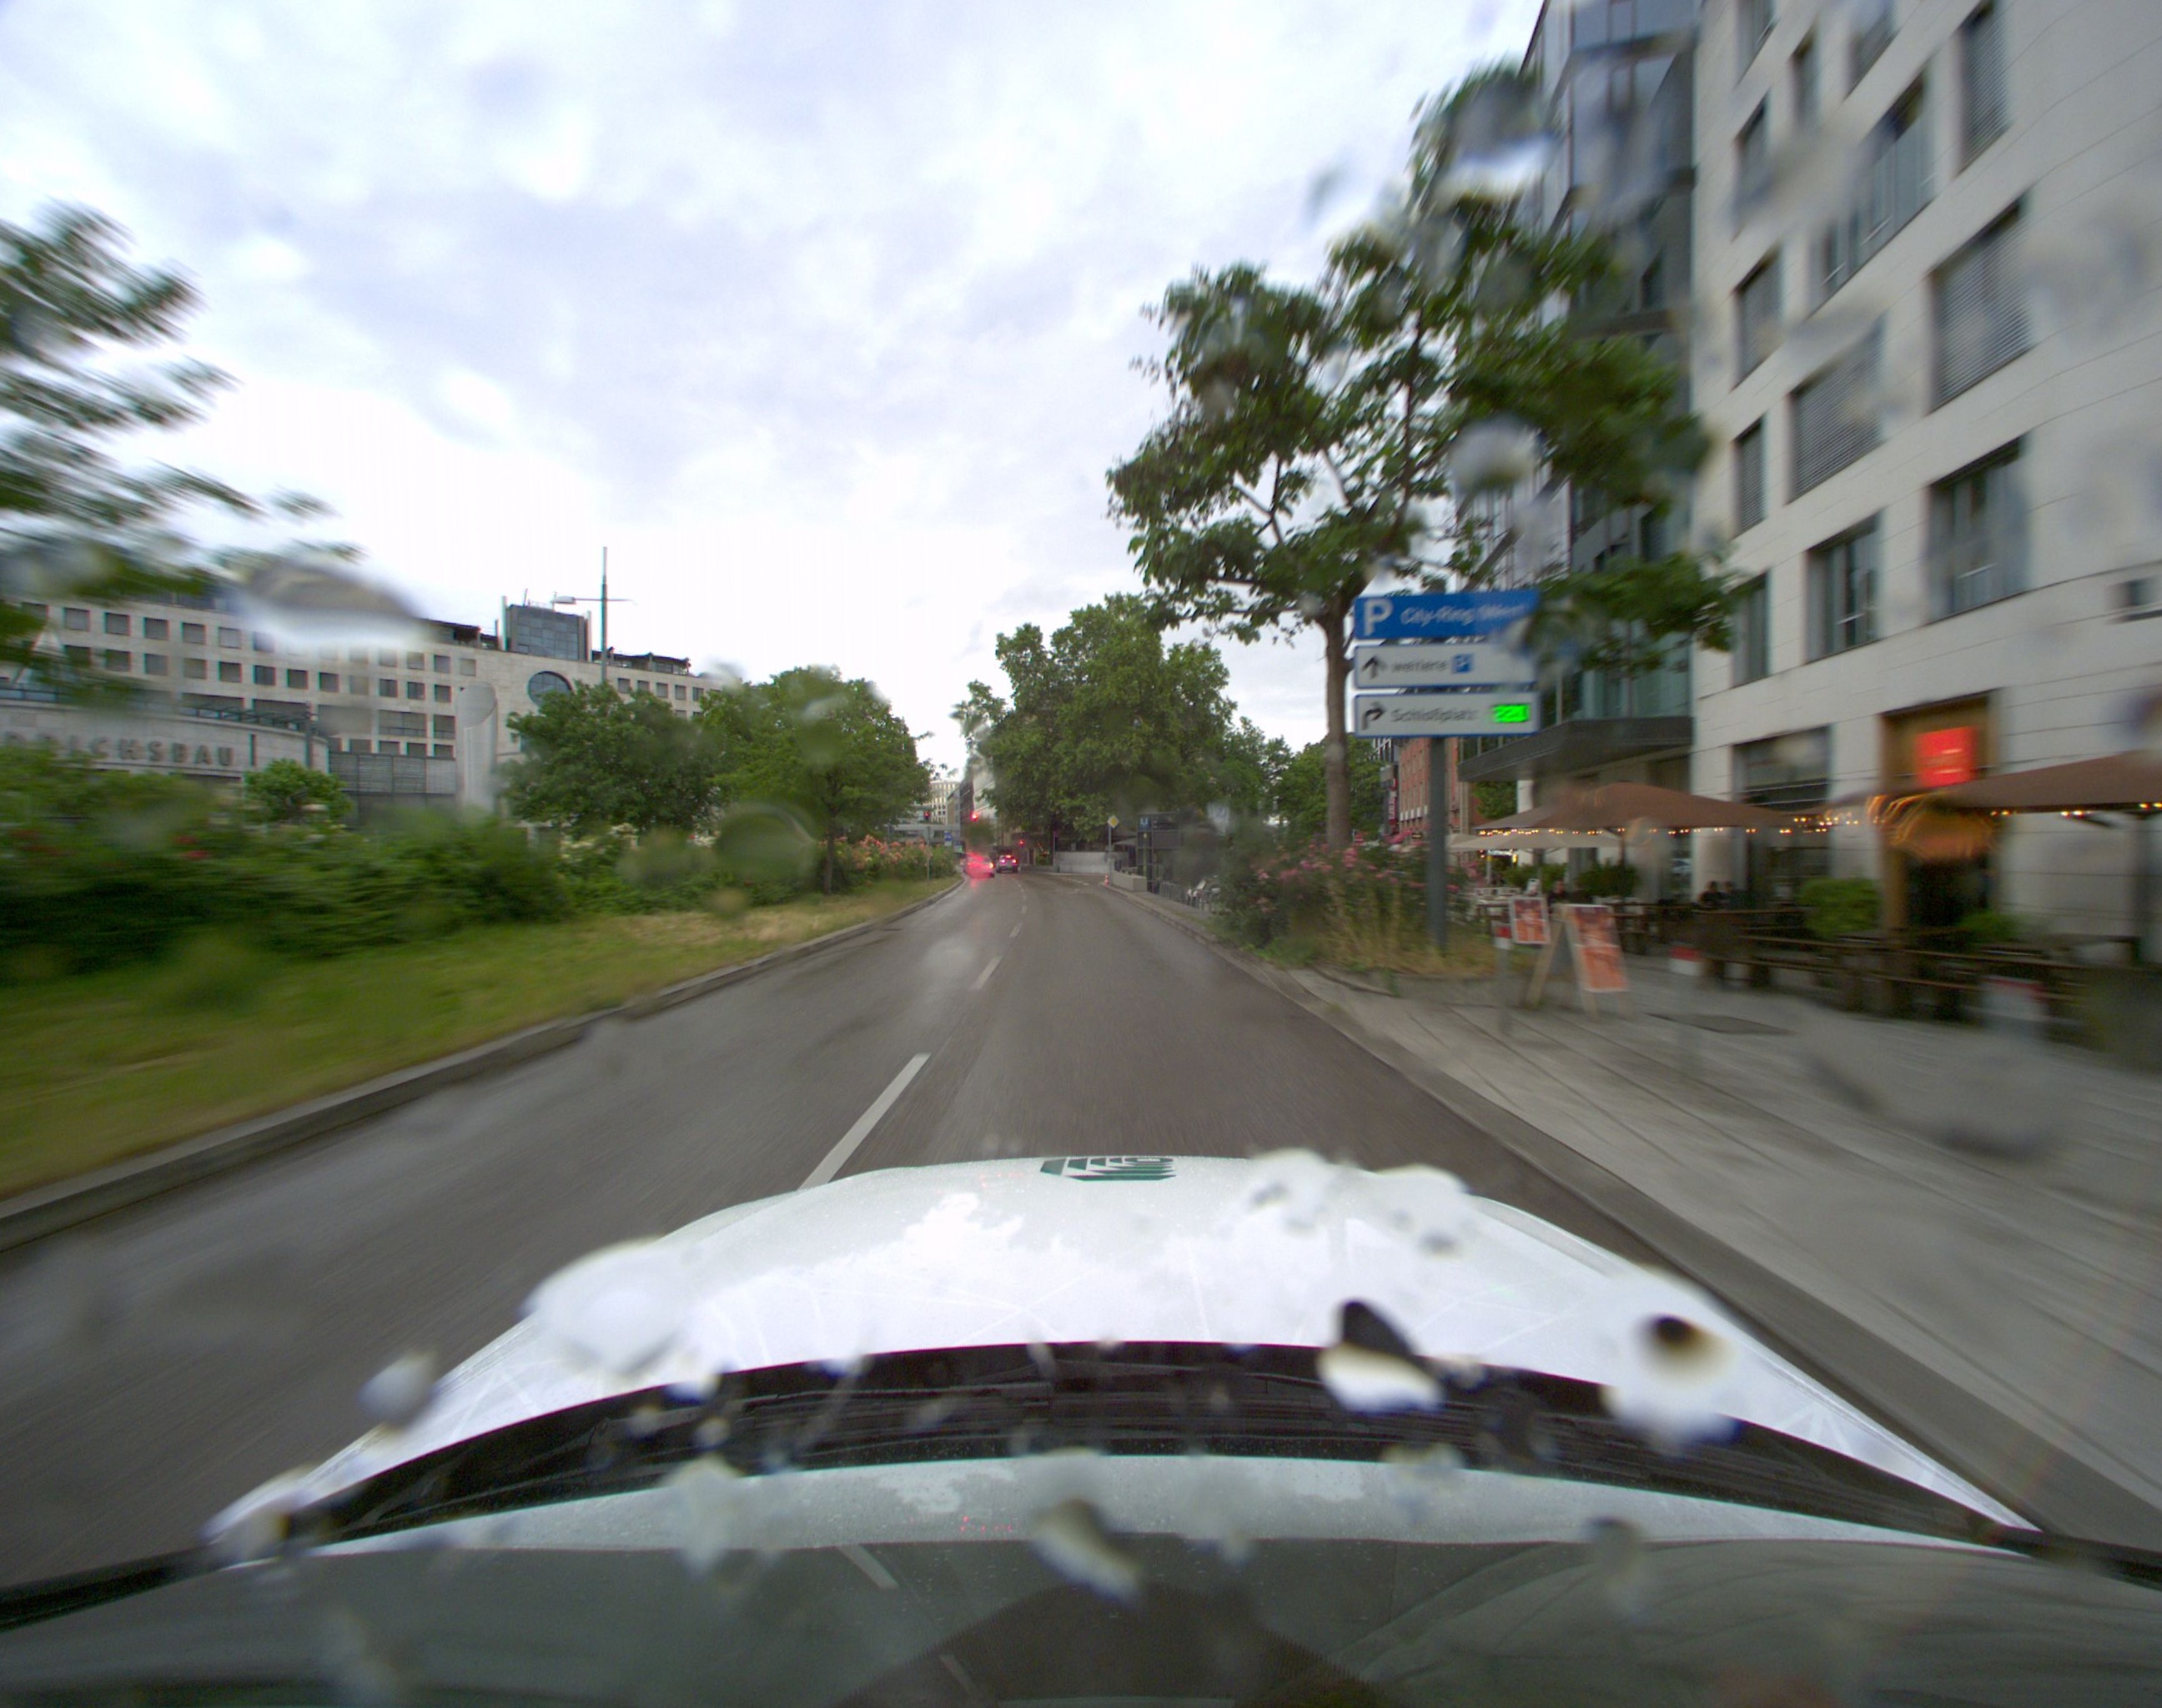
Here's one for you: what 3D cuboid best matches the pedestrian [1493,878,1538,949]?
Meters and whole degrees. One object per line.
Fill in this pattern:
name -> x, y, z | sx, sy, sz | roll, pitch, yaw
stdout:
pedestrian -> 8.488, 1.147, 15.936 | 0.602, 1.326, 0.569 | 2, -1, 9

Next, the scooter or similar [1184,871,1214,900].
scooter or similar -> 4.727, 1.253, 32.739 | 1.111, 1.158, 0.531 | 0, 0, -5

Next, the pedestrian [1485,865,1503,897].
pedestrian -> 23.683, 1.558, 46.704 | 0.606, 1.809, 0.807 | 1, -1, -2

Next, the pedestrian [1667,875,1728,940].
pedestrian -> 13.197, 1.131, 17.458 | 0.812, 1.326, 0.637 | 2, -1, 9

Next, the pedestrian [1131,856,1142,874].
pedestrian -> 4.230, 0.839, 62.445 | 0.683, 1.410, 0.903 | 2, -1, -5

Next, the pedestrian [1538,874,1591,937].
pedestrian -> 10.705, 1.118, 18.041 | 0.812, 1.326, 0.637 | 2, -1, 9

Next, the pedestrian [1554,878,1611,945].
pedestrian -> 10.519, 1.194, 17.112 | 0.812, 1.326, 0.637 | 2, -1, 9

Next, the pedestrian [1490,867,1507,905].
pedestrian -> 15.605, 1.205, 30.440 | 0.432, 1.403, 0.480 | -1, -1, 12

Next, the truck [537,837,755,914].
truck -> -15.993, 0.721, 30.971 | 3.353, 2.510, 8.482 | -1, 0, 3

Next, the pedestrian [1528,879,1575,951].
pedestrian -> 9.131, 1.176, 15.831 | 0.602, 1.326, 0.569 | 2, -1, 9

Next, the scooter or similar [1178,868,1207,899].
scooter or similar -> 4.614, 1.224, 33.711 | 1.111, 1.237, 0.364 | 0, 0, -5

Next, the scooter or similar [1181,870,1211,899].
scooter or similar -> 4.691, 1.251, 33.253 | 1.111, 1.158, 0.443 | 0, 0, -5

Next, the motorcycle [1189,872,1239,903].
motorcycle -> 5.043, 1.273, 30.834 | 1.774, 1.158, 0.606 | 0, 0, -5

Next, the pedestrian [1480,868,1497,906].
pedestrian -> 15.079, 1.209, 30.150 | 0.432, 1.403, 0.480 | -1, -1, 12

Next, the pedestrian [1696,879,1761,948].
pedestrian -> 13.190, 1.198, 16.608 | 0.812, 1.326, 0.637 | 2, -1, 9

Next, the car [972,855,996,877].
car -> -7.120, 0.859, 59.563 | 1.590, 1.491, 3.493 | -2, 0, -10

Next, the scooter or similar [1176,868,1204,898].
scooter or similar -> 4.578, 1.218, 34.123 | 1.111, 1.216, 0.364 | 0, 0, -5

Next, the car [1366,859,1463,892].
car -> 18.447, 1.147, 45.277 | 4.702, 1.691, 2.012 | 1, 0, 13

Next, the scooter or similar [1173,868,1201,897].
scooter or similar -> 4.493, 1.211, 34.546 | 1.111, 1.234, 0.364 | 0, 0, -5

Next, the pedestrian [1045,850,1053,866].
pedestrian -> -3.621, 0.430, 91.138 | 0.858, 1.780, 0.716 | -1, -1, -7

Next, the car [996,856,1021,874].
car -> -6.915, 1.004, 77.324 | 1.947, 1.666, 4.330 | 0, -1, -10

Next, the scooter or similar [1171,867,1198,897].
scooter or similar -> 4.438, 1.198, 34.955 | 1.111, 1.269, 0.364 | 0, 0, -5
